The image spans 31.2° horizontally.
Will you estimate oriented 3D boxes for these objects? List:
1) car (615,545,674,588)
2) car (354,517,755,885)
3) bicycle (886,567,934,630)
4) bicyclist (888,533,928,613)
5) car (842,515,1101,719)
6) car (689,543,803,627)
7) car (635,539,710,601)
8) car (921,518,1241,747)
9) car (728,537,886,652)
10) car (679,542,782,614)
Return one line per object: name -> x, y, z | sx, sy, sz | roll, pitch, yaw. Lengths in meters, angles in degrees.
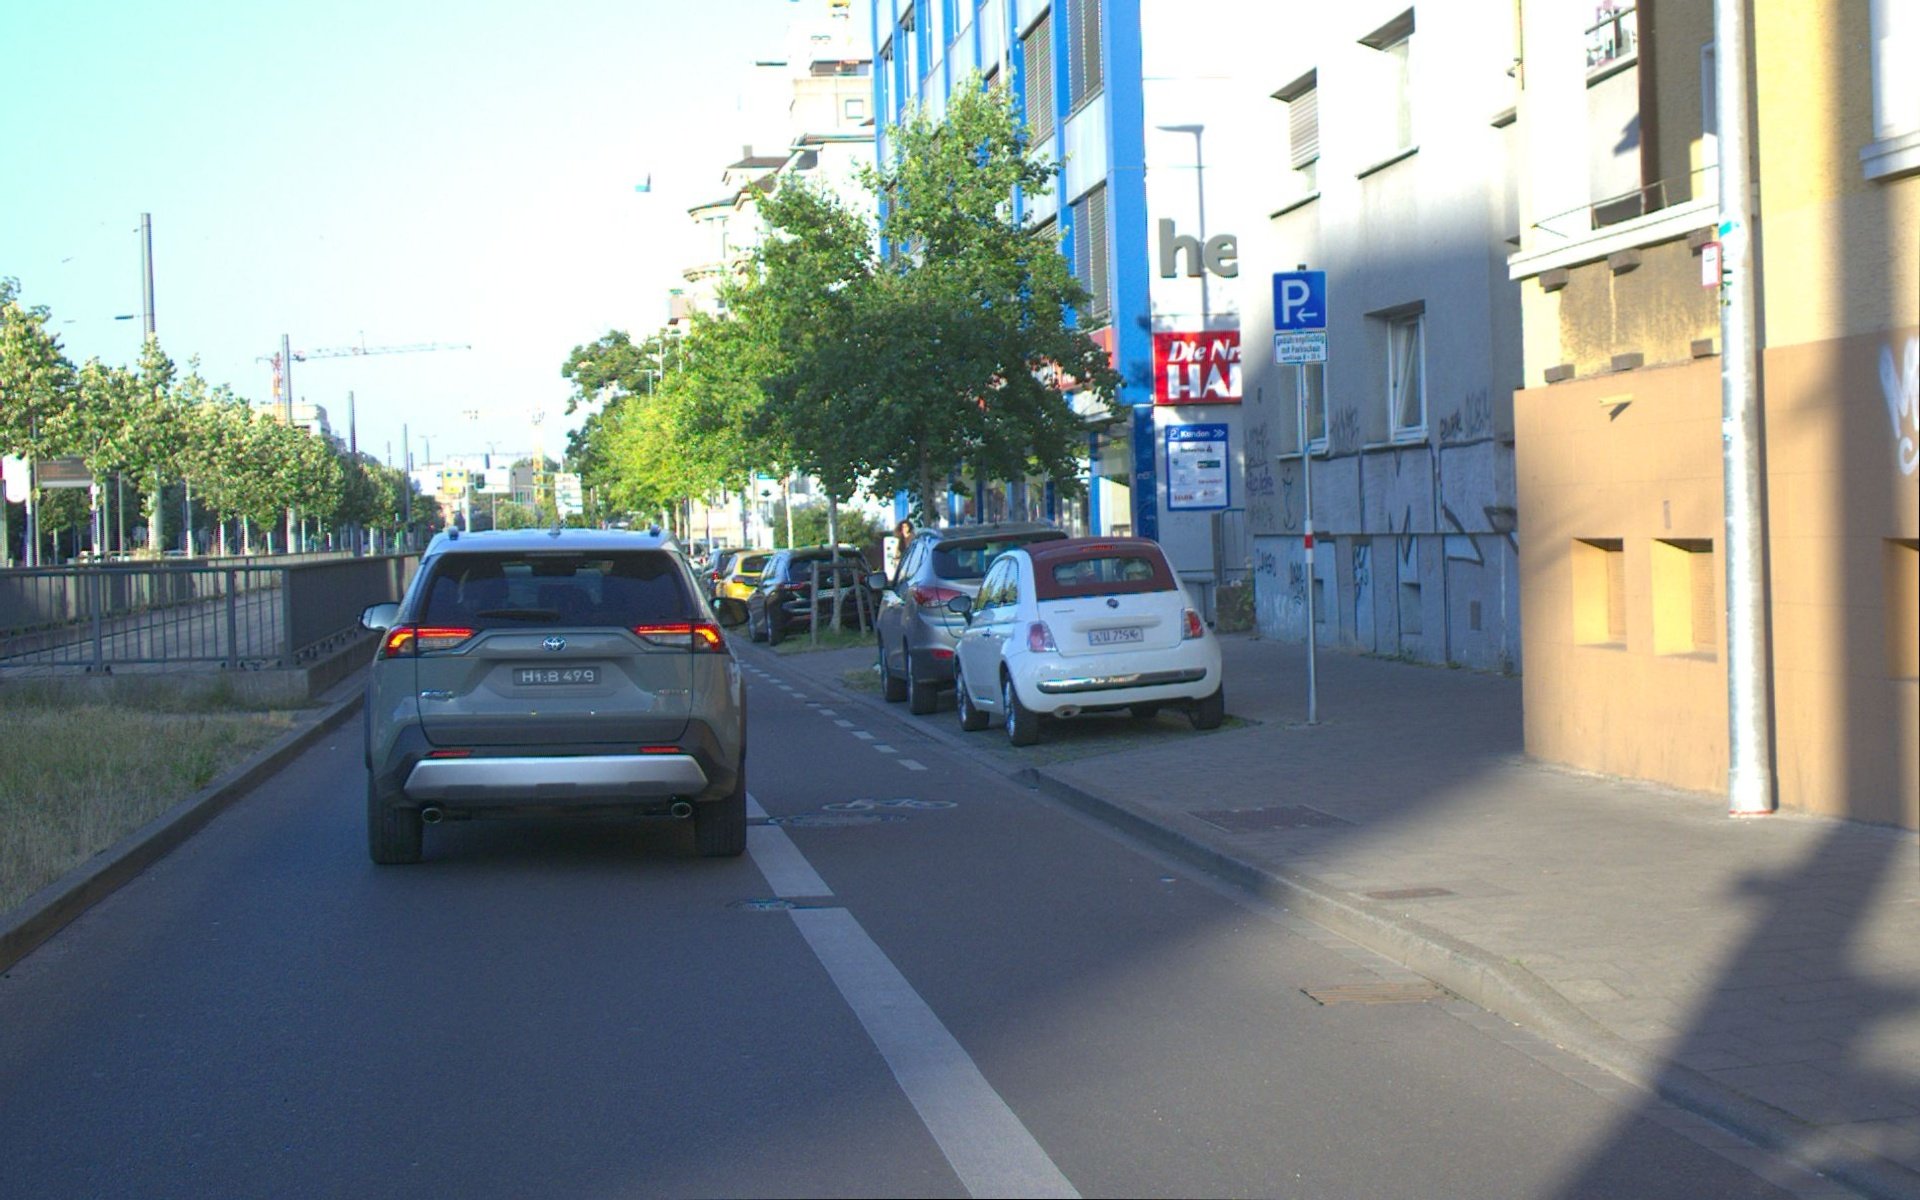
car -> -12.223, -1.300, 132.880 | 1.792, 1.466, 4.446 | -5, 2, -10
car -> -2.212, 0.450, 18.139 | 1.857, 1.708, 4.193 | 0, 0, -9
bicycle -> -0.953, -0.037, 65.101 | 0.553, 1.125, 1.974 | -5, 1, -9
bicyclist -> -0.992, -0.504, 65.122 | 0.558, 1.470, 0.623 | -5, 1, -9
car -> 0.029, 0.107, 32.100 | 1.756, 1.648, 4.529 | -4, 1, -7
car -> -4.036, -0.296, 64.317 | 1.683, 1.449, 4.131 | -3, 1, -9
car -> -8.690, -0.926, 103.691 | 1.854, 1.701, 4.255 | -4, 2, -9
car -> 0.868, 0.212, 26.823 | 1.669, 1.512, 3.602 | -5, 2, -10
car -> -2.455, -0.112, 54.087 | 1.819, 1.561, 4.811 | -5, 2, -9
car -> -5.005, -0.484, 74.539 | 1.819, 1.449, 4.129 | -3, 1, -9
